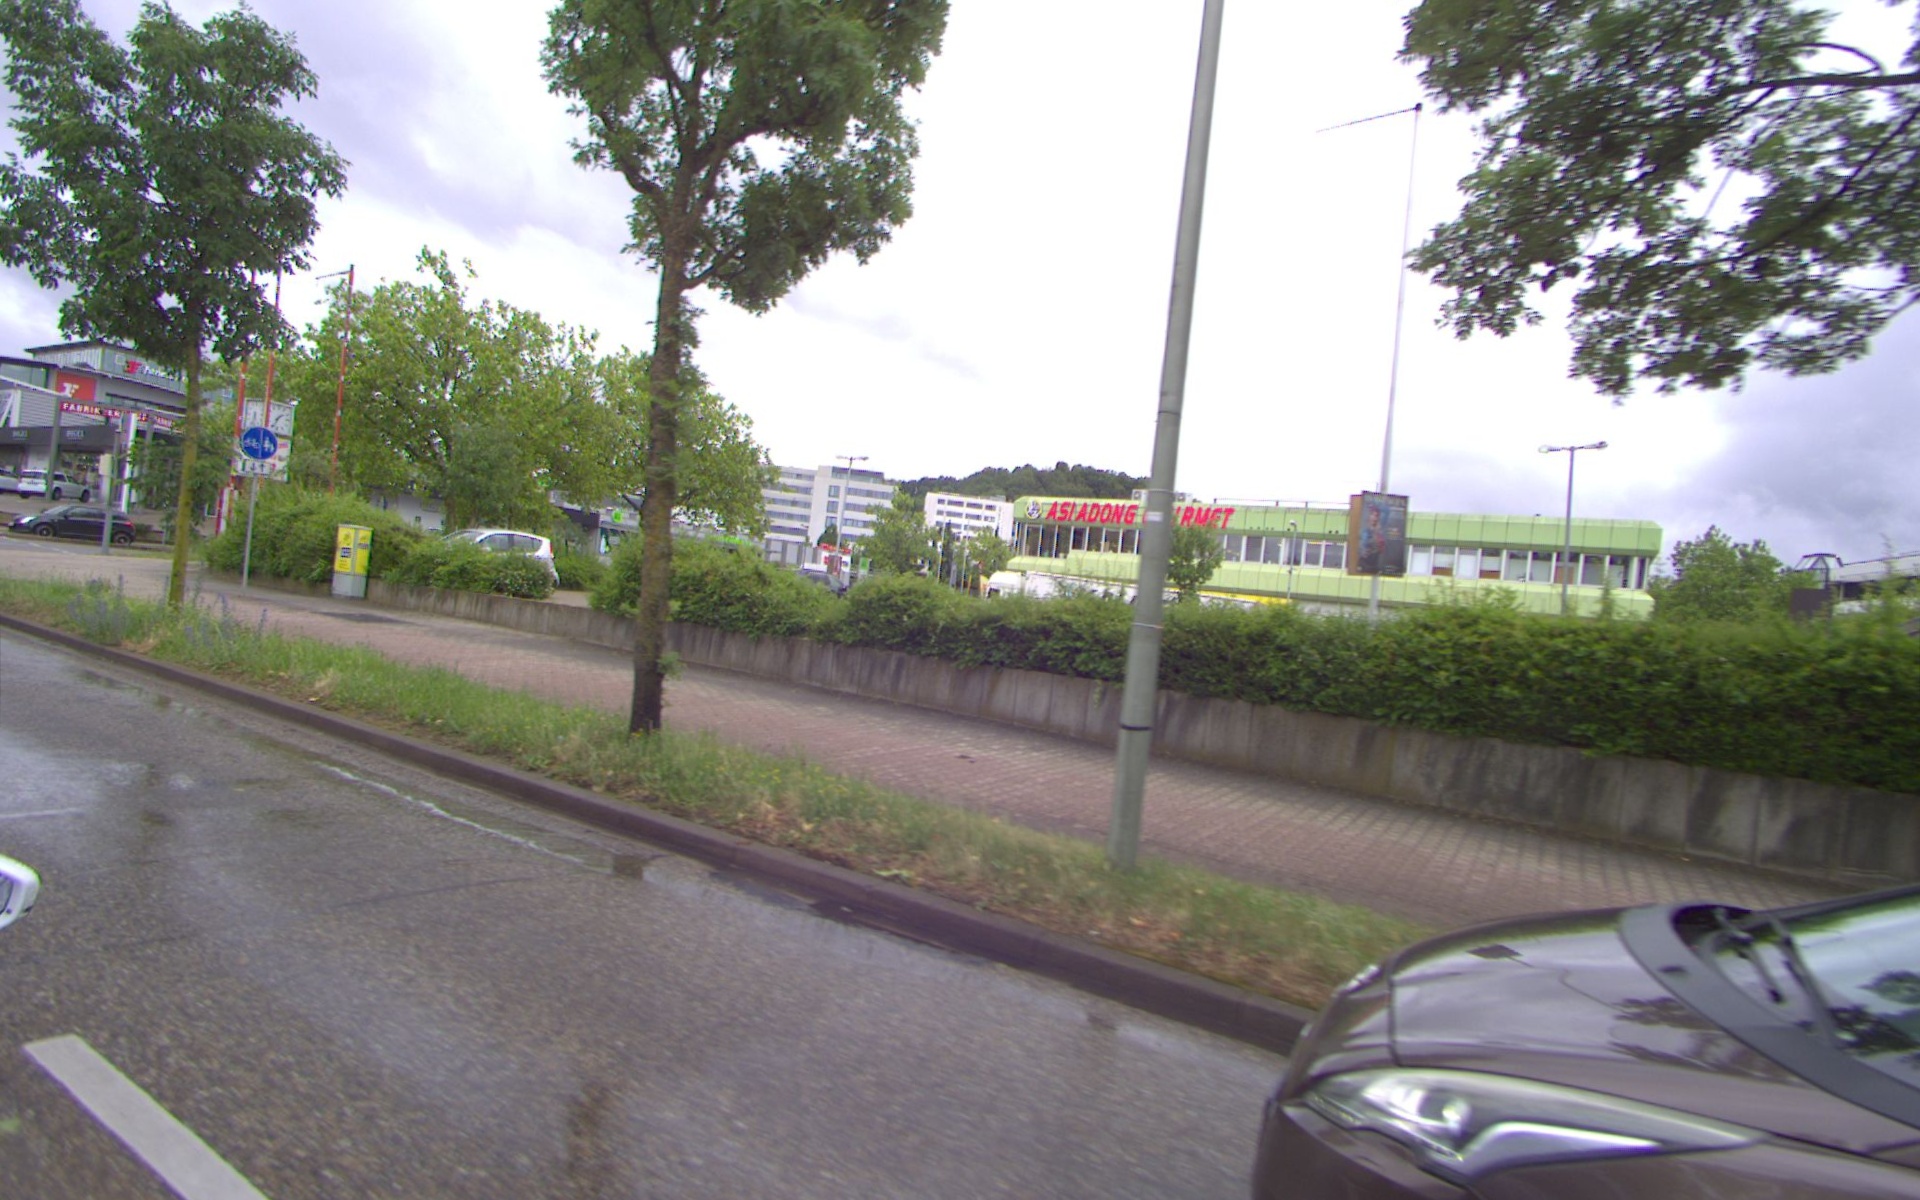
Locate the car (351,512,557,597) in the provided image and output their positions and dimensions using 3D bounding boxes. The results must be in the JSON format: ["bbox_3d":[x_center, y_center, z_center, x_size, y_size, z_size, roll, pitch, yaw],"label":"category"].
[{"bbox_3d":[-11.919,-1.027,23.943,1.628,1.459,3.990,7,0,33],"label":"car"}]

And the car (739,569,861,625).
[{"bbox_3d":[-5.554,-0.066,35.380,1.968,1.459,3.990,7,0,33],"label":"car"}]

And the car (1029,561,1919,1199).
[{"bbox_3d":[2.468,1.016,1.451,4.397,1.644,1.729,6,0,32],"label":"car"}]

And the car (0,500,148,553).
[{"bbox_3d":[-34.479,-2.837,39.200,1.787,1.507,3.983,6,0,31],"label":"car"}]

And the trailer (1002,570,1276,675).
[{"bbox_3d":[9.631,1.113,56.131,14.567,3.759,3.158,8,-1,32],"label":"trailer"}]

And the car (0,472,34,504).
[{"bbox_3d":[-61.638,-7.327,64.085,1.708,1.792,4.148,7,0,-8],"label":"car"}]

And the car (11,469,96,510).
[{"bbox_3d":[-53.405,-6.470,59.391,1.709,1.792,4.145,7,0,-11],"label":"car"}]

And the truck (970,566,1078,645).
[{"bbox_3d":[3.817,0.326,59.830,5.051,3.759,3.158,8,-1,32],"label":"truck"}]

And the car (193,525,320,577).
[{"bbox_3d":[-30.858,-2.117,44.251,1.711,1.565,4.144,5,-3,36],"label":"car"}]
